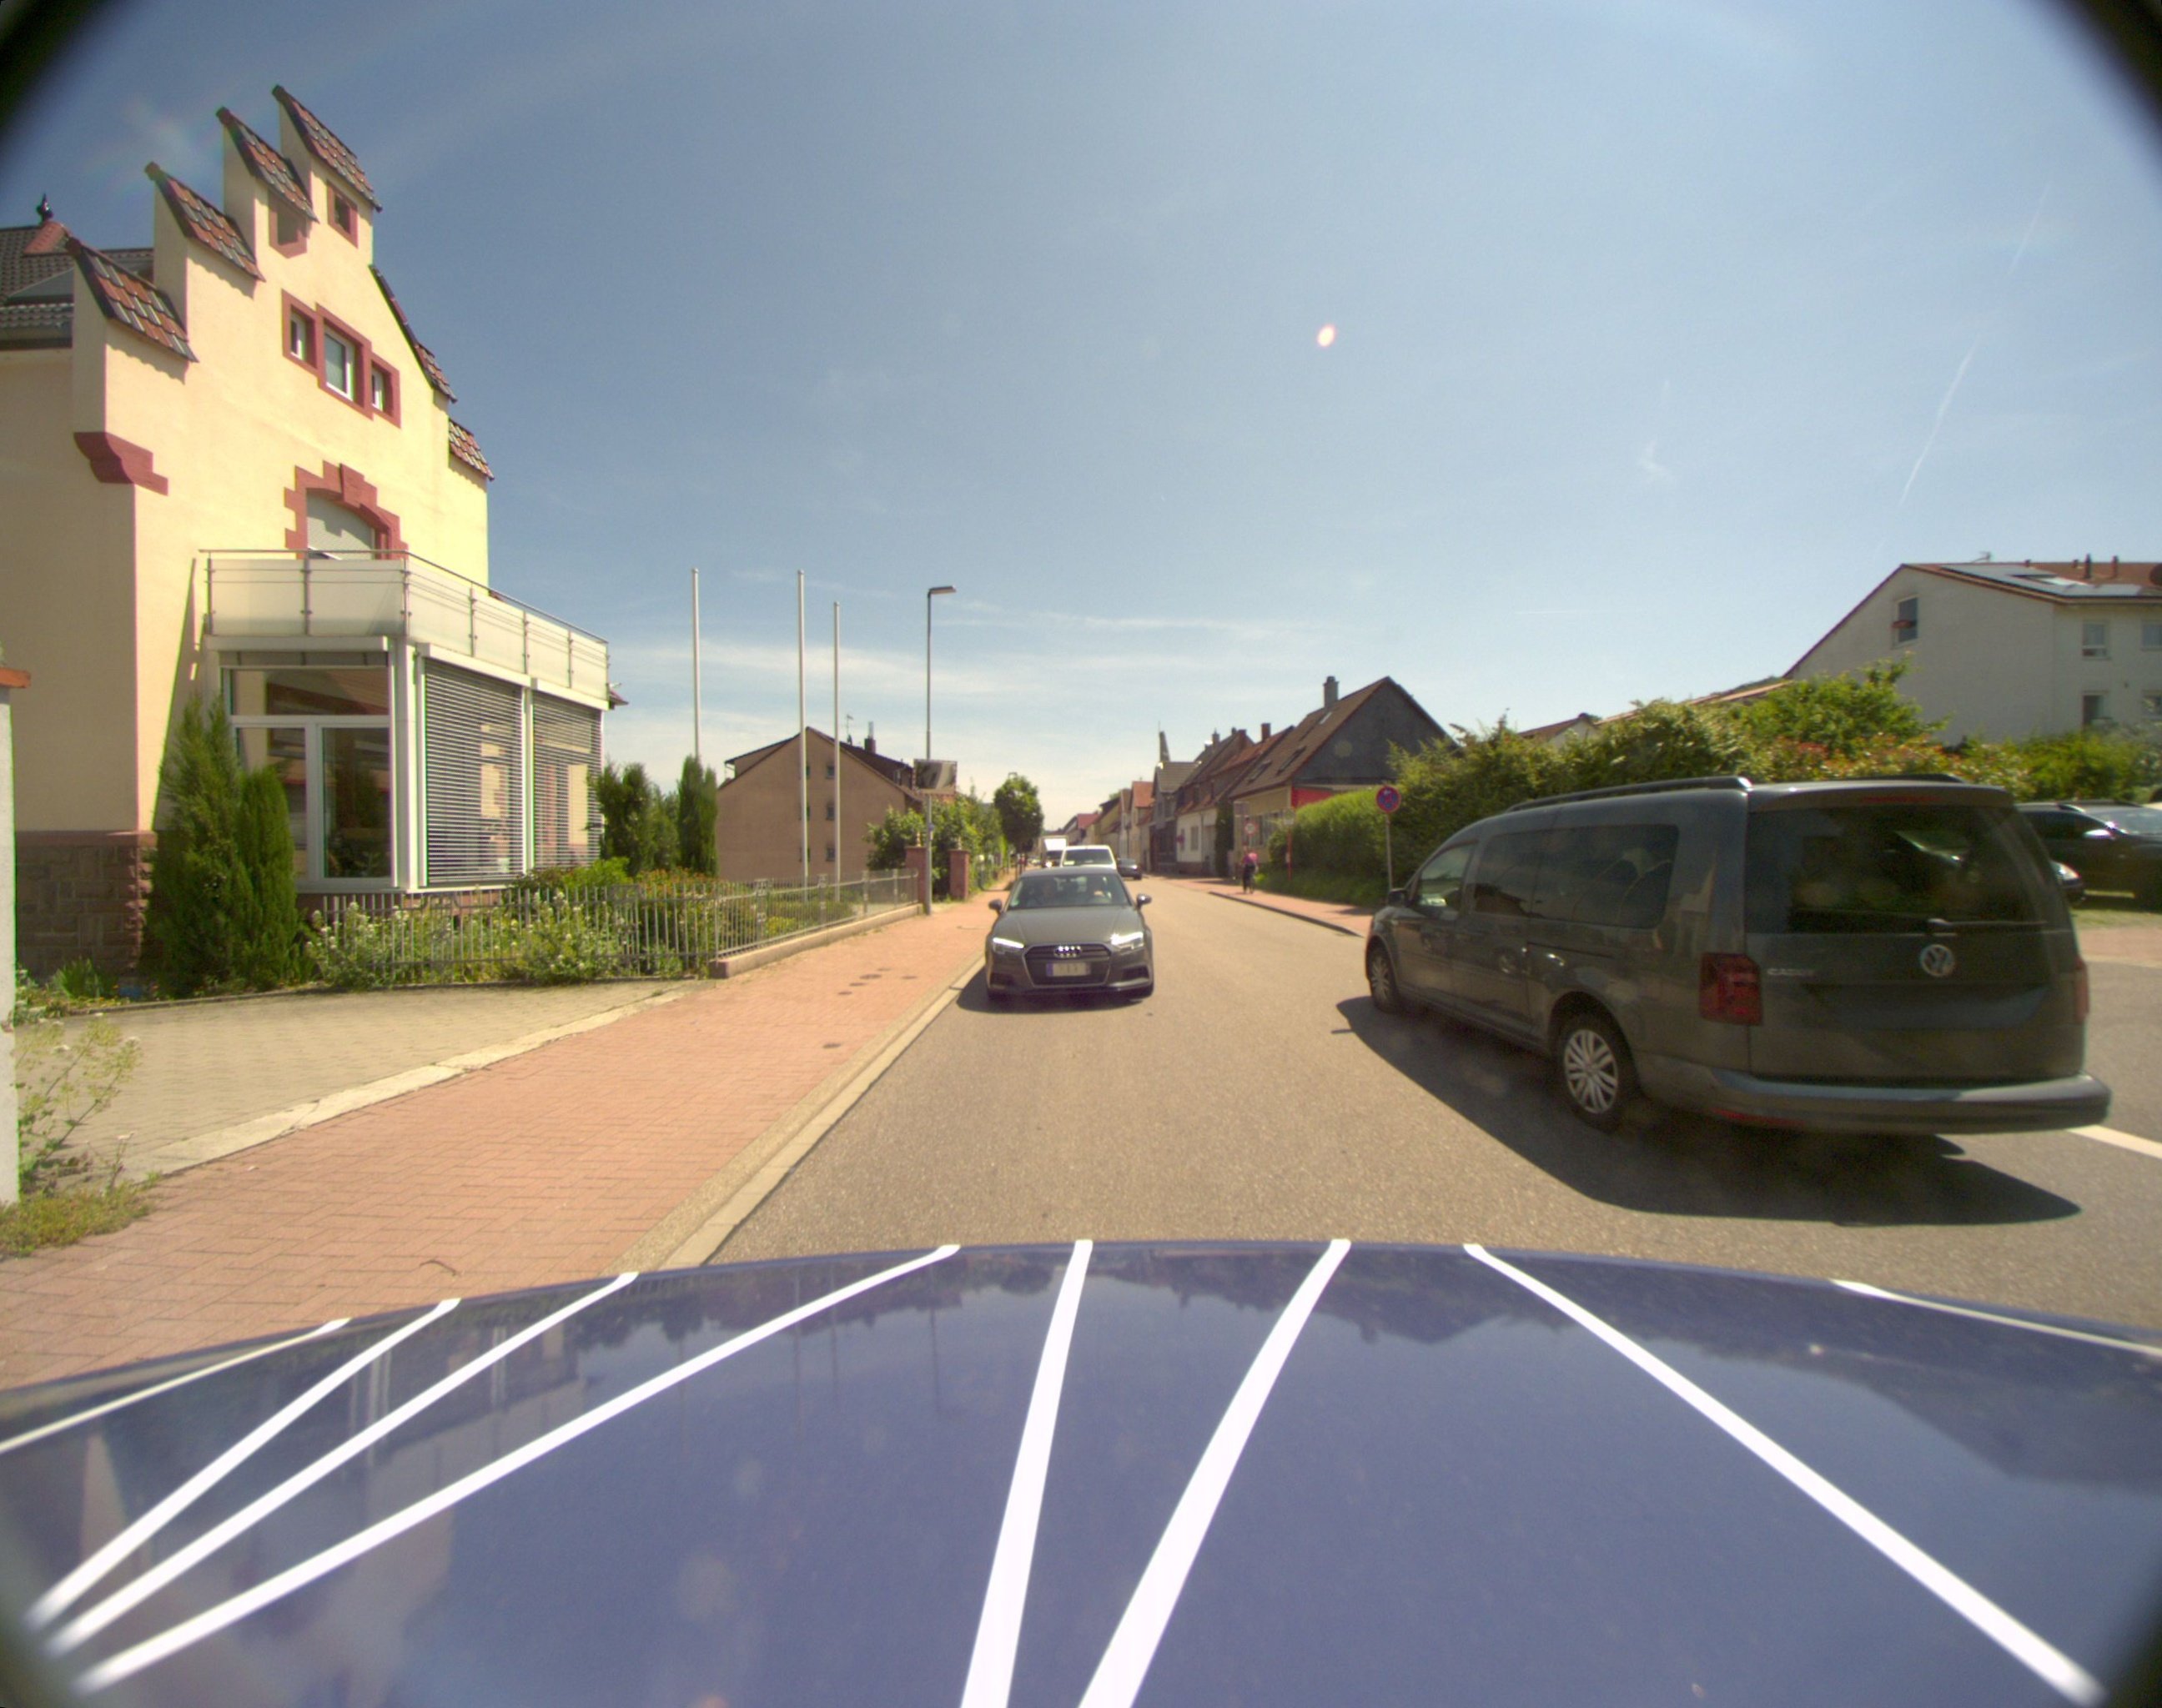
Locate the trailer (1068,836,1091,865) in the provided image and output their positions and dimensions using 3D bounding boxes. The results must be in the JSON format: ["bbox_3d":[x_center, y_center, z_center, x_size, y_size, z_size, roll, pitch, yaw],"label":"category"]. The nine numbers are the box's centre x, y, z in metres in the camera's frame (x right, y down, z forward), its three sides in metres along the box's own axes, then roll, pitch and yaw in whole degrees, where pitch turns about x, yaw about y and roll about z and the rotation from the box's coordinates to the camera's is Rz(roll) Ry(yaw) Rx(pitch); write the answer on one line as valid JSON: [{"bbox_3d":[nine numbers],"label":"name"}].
[{"bbox_3d":[-0.277,-0.495,99.293,2.537,3.627,8.458,0,0,-4],"label":"trailer"}]

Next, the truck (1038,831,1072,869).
[{"bbox_3d":[-2.748,-0.378,76.973,2.899,3.516,12.948,-1,0,-4],"label":"truck"}]

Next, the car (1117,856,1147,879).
[{"bbox_3d":[3.216,0.837,48.676,1.710,1.362,3.868,2,0,1],"label":"car"}]

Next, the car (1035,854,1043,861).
[{"bbox_3d":[-8.751,0.751,156.621,1.508,1.432,3.534,-3,1,-5],"label":"car"}]

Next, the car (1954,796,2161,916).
[{"bbox_3d":[16.994,-0.013,12.353,1.627,1.769,3.511,-3,0,4],"label":"car"}]

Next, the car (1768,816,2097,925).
[{"bbox_3d":[14.238,0.229,13.062,1.627,1.532,3.652,-3,0,4],"label":"car"}]

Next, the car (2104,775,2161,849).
[{"bbox_3d":[27.100,-1.074,18.096,3.639,1.724,1.420,-3,1,-2],"label":"car"}]

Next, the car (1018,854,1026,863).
[{"bbox_3d":[-11.642,0.880,150.368,1.637,1.572,3.568,1,0,-4],"label":"car"}]

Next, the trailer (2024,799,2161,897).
[{"bbox_3d":[19.506,-0.134,13.732,1.430,1.654,2.691,-5,0,-4],"label":"trailer"}]

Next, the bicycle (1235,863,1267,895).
[{"bbox_3d":[6.198,0.898,27.813,0.672,1.050,2.026,-3,0,0],"label":"bicycle"}]

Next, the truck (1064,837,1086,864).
[{"bbox_3d":[-0.892,-0.539,108.541,2.574,3.679,10.074,0,0,-4],"label":"truck"}]

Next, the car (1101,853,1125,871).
[{"bbox_3d":[2.629,0.660,63.251,1.734,1.452,4.694,0,0,0],"label":"car"}]

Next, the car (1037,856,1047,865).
[{"bbox_3d":[-6.458,1.068,125.182,1.508,1.432,3.534,-3,1,-5],"label":"car"}]

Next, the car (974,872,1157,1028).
[{"bbox_3d":[-0.155,0.969,9.276,1.705,1.346,4.000,-2,0,0],"label":"car"}]

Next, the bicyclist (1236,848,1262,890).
[{"bbox_3d":[6.178,0.552,28.010,0.660,1.485,0.909,-3,1,0],"label":"bicyclist"}]

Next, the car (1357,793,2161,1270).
[{"bbox_3d":[3.507,0.687,5.182,1.660,1.844,4.464,0,0,1],"label":"car"}]

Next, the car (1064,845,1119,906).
[{"bbox_3d":[0.292,0.639,25.023,1.637,1.833,3.569,-1,0,-1],"label":"car"}]
